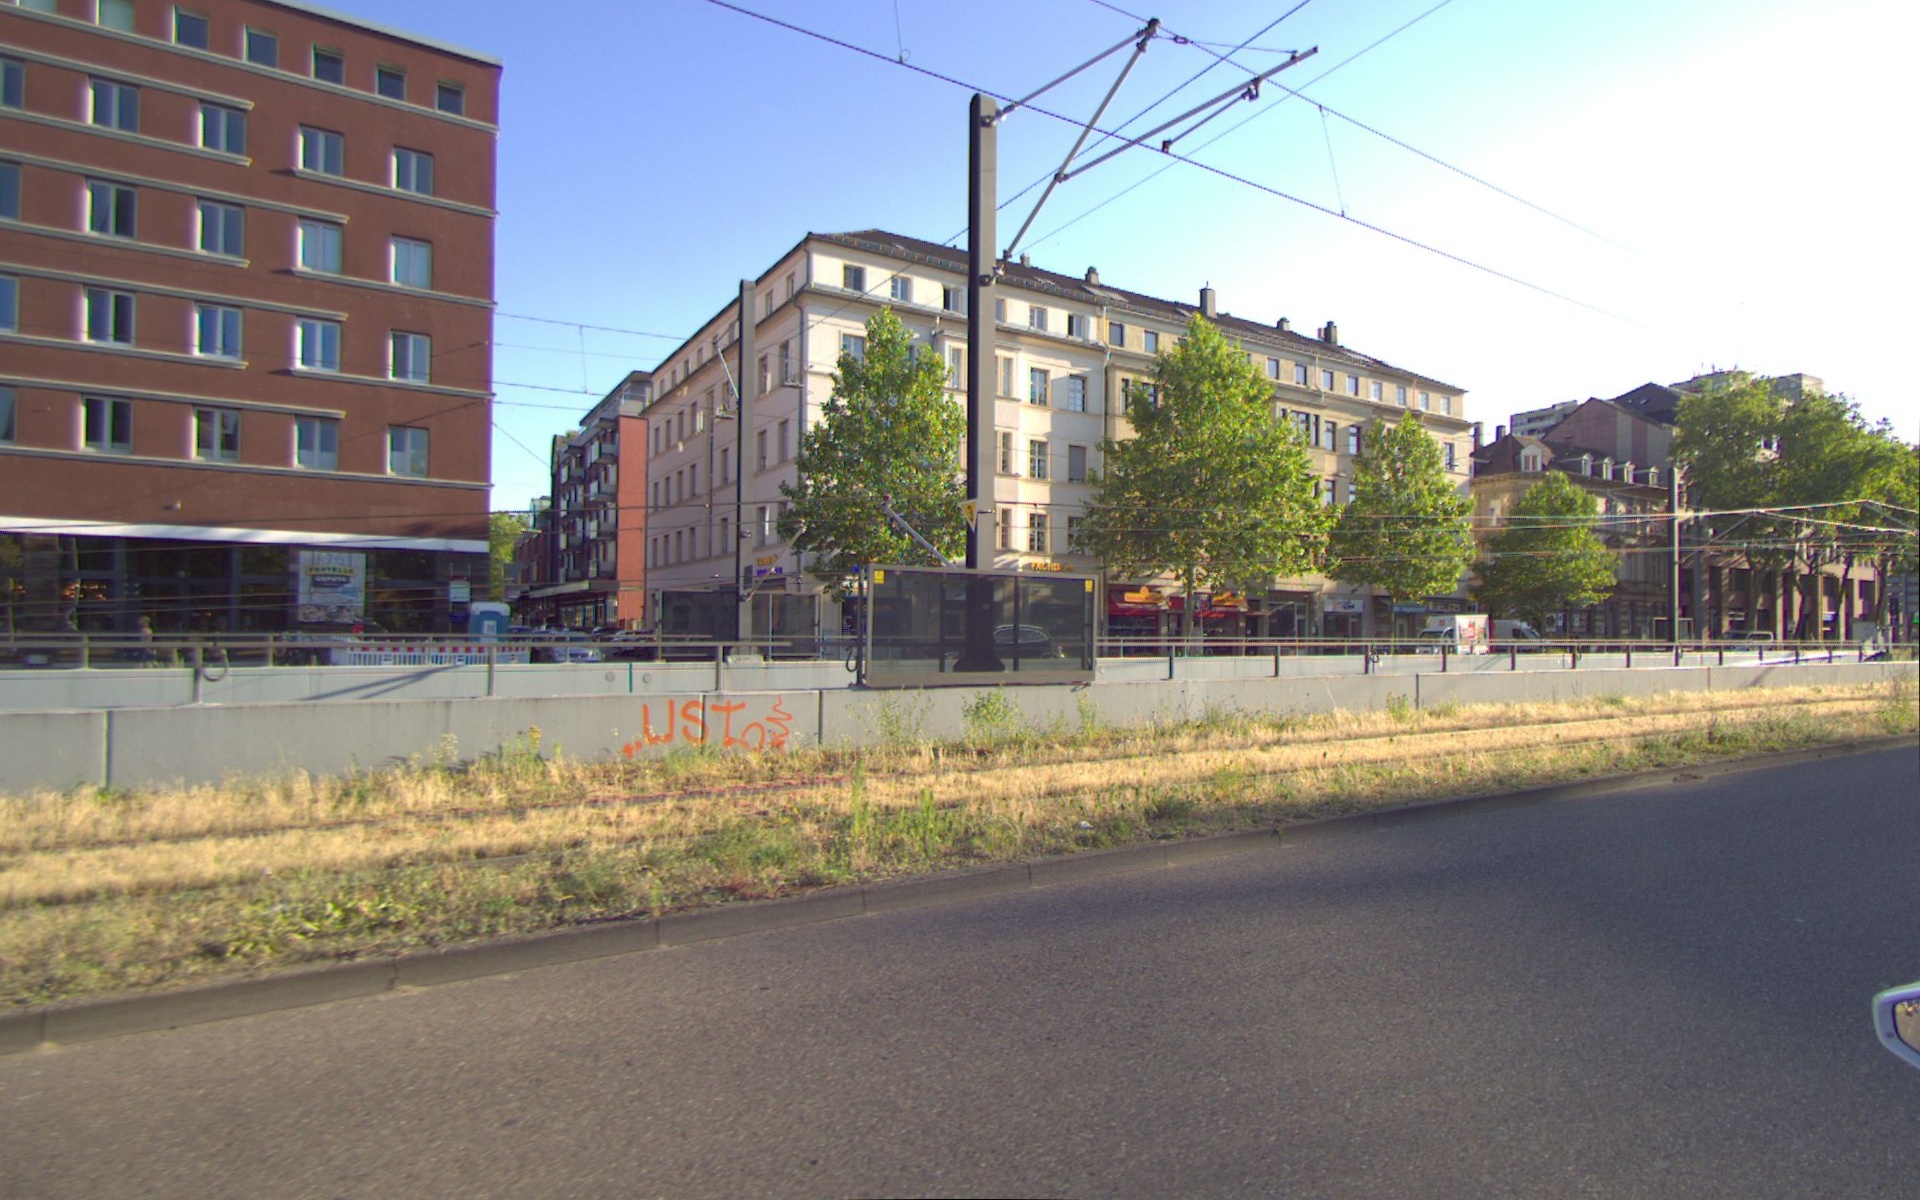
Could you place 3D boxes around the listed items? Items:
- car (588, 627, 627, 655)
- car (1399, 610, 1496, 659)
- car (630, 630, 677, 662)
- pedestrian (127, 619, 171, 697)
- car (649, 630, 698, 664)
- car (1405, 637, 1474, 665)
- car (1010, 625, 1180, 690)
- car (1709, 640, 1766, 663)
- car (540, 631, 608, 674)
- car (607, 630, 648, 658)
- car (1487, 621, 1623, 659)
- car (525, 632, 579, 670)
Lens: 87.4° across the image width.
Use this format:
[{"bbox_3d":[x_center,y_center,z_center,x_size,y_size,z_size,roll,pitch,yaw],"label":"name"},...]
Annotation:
[{"bbox_3d":[-21.323,2.462,60.738,1.538,1.580,3.806,2,-2,-29],"label":"car"},{"bbox_3d":[22.823,1.610,46.994,4.521,2.162,1.942,1,-2,-32],"label":"car"},{"bbox_3d":[-15.965,2.361,52.259,1.531,1.567,3.969,1,-2,-30],"label":"car"},{"bbox_3d":[-21.741,1.534,26.943,0.763,2.040,0.695,1,-1,-30],"label":"pedestrian"},{"bbox_3d":[-13.736,2.231,48.033,1.530,1.567,3.509,1,-2,-28],"label":"car"},{"bbox_3d":[25.254,2.689,52.906,3.667,1.350,1.447,2,0,-30],"label":"car"},{"bbox_3d":[4.115,1.690,30.376,4.919,1.843,1.985,1,-2,-30],"label":"car"},{"bbox_3d":[56.615,3.739,73.156,4.681,1.606,1.751,2,-2,-31],"label":"car"},{"bbox_3d":[-14.535,1.927,37.722,1.875,1.505,3.971,1,-2,-28],"label":"car"},{"bbox_3d":[-18.666,2.455,56.316,1.437,1.514,3.845,1,-2,-30],"label":"car"},{"bbox_3d":[38.255,2.530,64.806,2.446,2.296,7.218,2,-2,-36],"label":"car"},{"bbox_3d":[-17.112,2.096,42.034,1.622,1.514,3.558,1,-2,-30],"label":"car"}]
